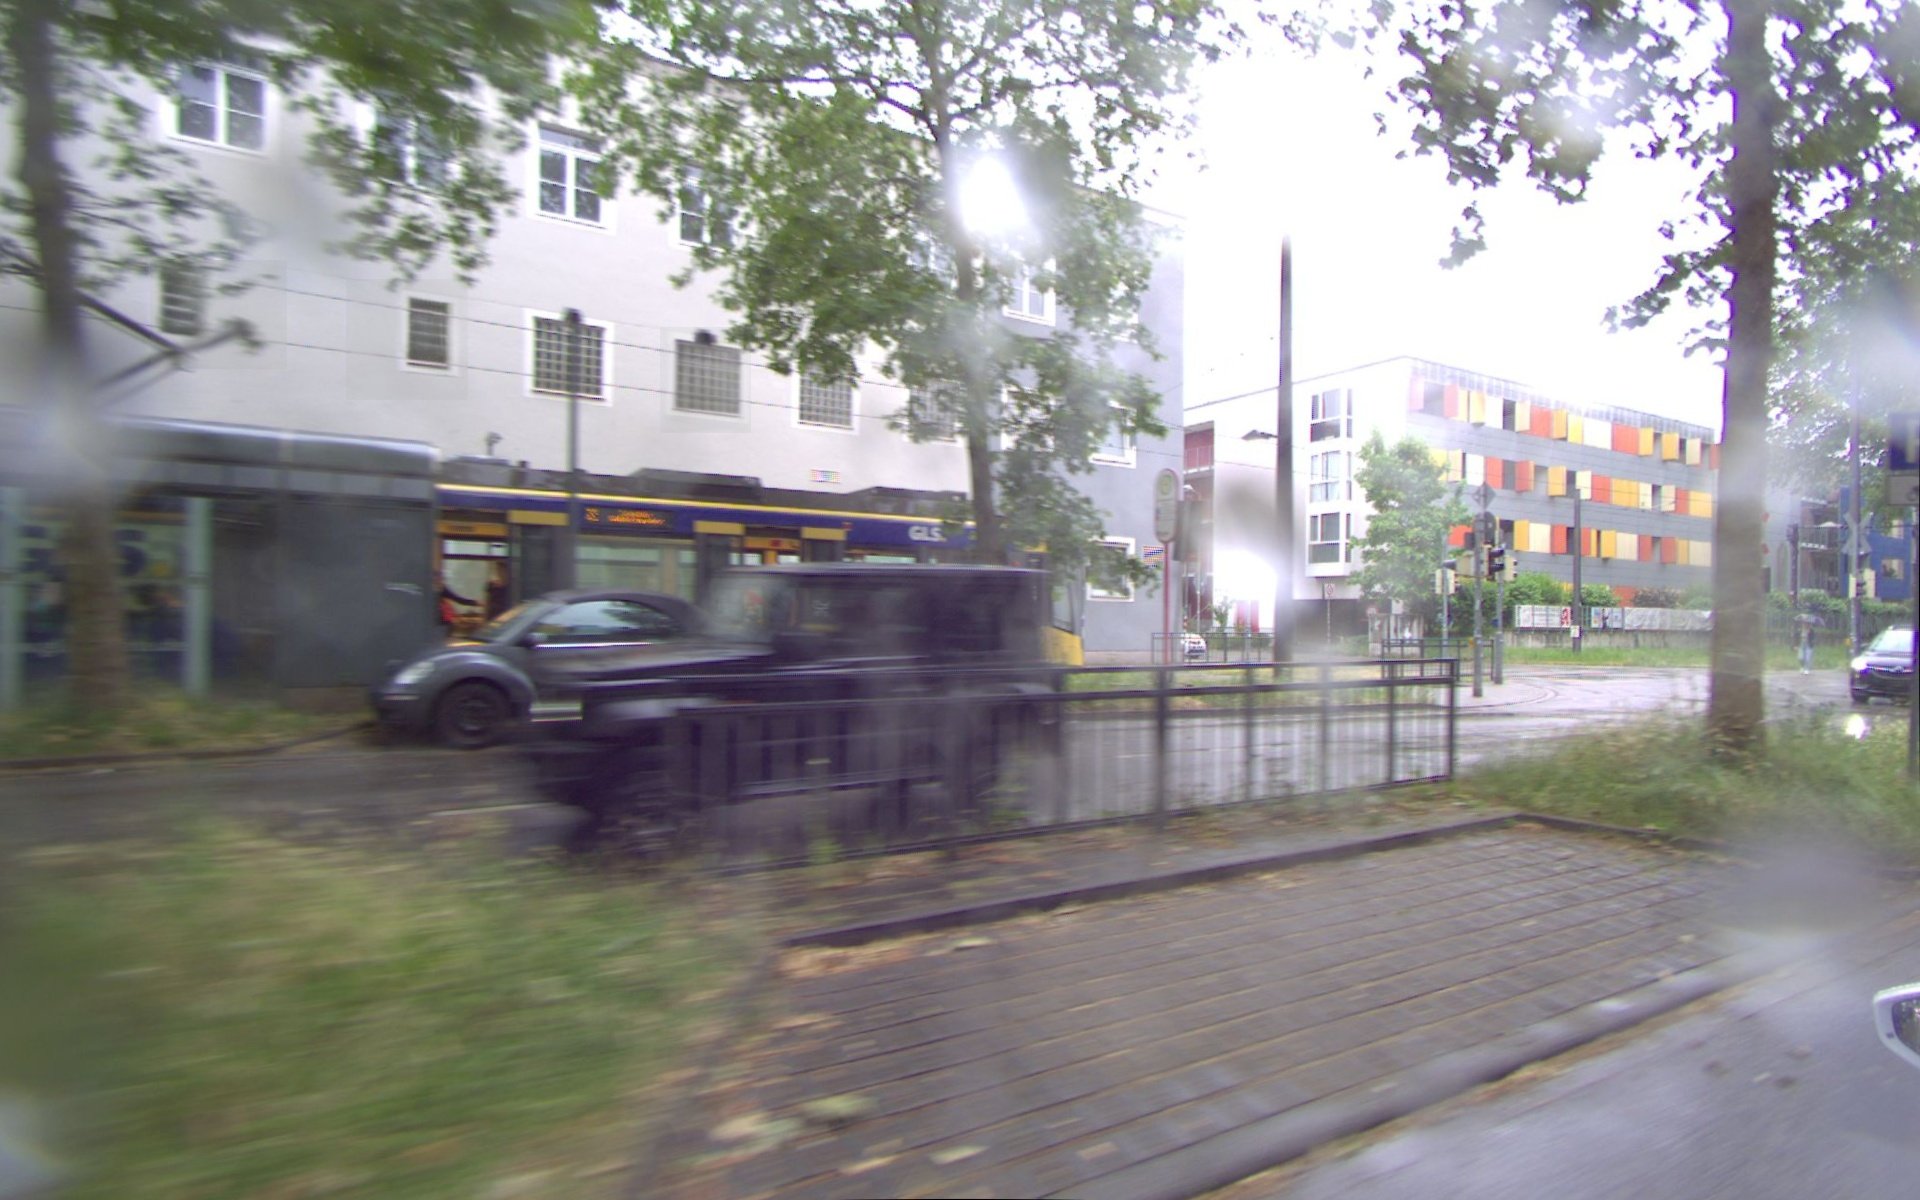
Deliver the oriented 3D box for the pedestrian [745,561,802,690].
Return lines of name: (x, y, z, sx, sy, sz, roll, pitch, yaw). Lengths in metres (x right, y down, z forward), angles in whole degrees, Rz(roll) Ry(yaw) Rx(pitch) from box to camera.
pedestrian: (-2.821, 0.381, 15.155, 0.628, 1.880, 0.658, 1, 0, -30)

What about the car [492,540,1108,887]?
car: (-0.968, 0.580, 6.548, 3.608, 1.685, 1.663, 1, 0, -32)

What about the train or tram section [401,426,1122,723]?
train or tram section: (-2.677, -0.168, 16.699, 11.420, 3.690, 2.885, 2, 0, -31)

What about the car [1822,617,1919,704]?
car: (20.069, 1.217, 21.049, 4.628, 1.640, 2.042, 1, 0, -36)

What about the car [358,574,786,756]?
car: (-3.994, 0.585, 10.513, 3.930, 1.529, 1.663, 1, 3, -32)

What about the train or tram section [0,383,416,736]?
train or tram section: (-12.410, -0.491, 10.756, 11.420, 3.690, 2.885, 2, 0, -31)

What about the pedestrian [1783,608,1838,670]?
pedestrian: (25.593, 1.177, 30.231, 1.192, 1.824, 0.930, 2, -1, -32)

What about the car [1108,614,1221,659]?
car: (7.666, 1.344, 37.921, 1.869, 1.548, 4.052, 1, 0, -34)
